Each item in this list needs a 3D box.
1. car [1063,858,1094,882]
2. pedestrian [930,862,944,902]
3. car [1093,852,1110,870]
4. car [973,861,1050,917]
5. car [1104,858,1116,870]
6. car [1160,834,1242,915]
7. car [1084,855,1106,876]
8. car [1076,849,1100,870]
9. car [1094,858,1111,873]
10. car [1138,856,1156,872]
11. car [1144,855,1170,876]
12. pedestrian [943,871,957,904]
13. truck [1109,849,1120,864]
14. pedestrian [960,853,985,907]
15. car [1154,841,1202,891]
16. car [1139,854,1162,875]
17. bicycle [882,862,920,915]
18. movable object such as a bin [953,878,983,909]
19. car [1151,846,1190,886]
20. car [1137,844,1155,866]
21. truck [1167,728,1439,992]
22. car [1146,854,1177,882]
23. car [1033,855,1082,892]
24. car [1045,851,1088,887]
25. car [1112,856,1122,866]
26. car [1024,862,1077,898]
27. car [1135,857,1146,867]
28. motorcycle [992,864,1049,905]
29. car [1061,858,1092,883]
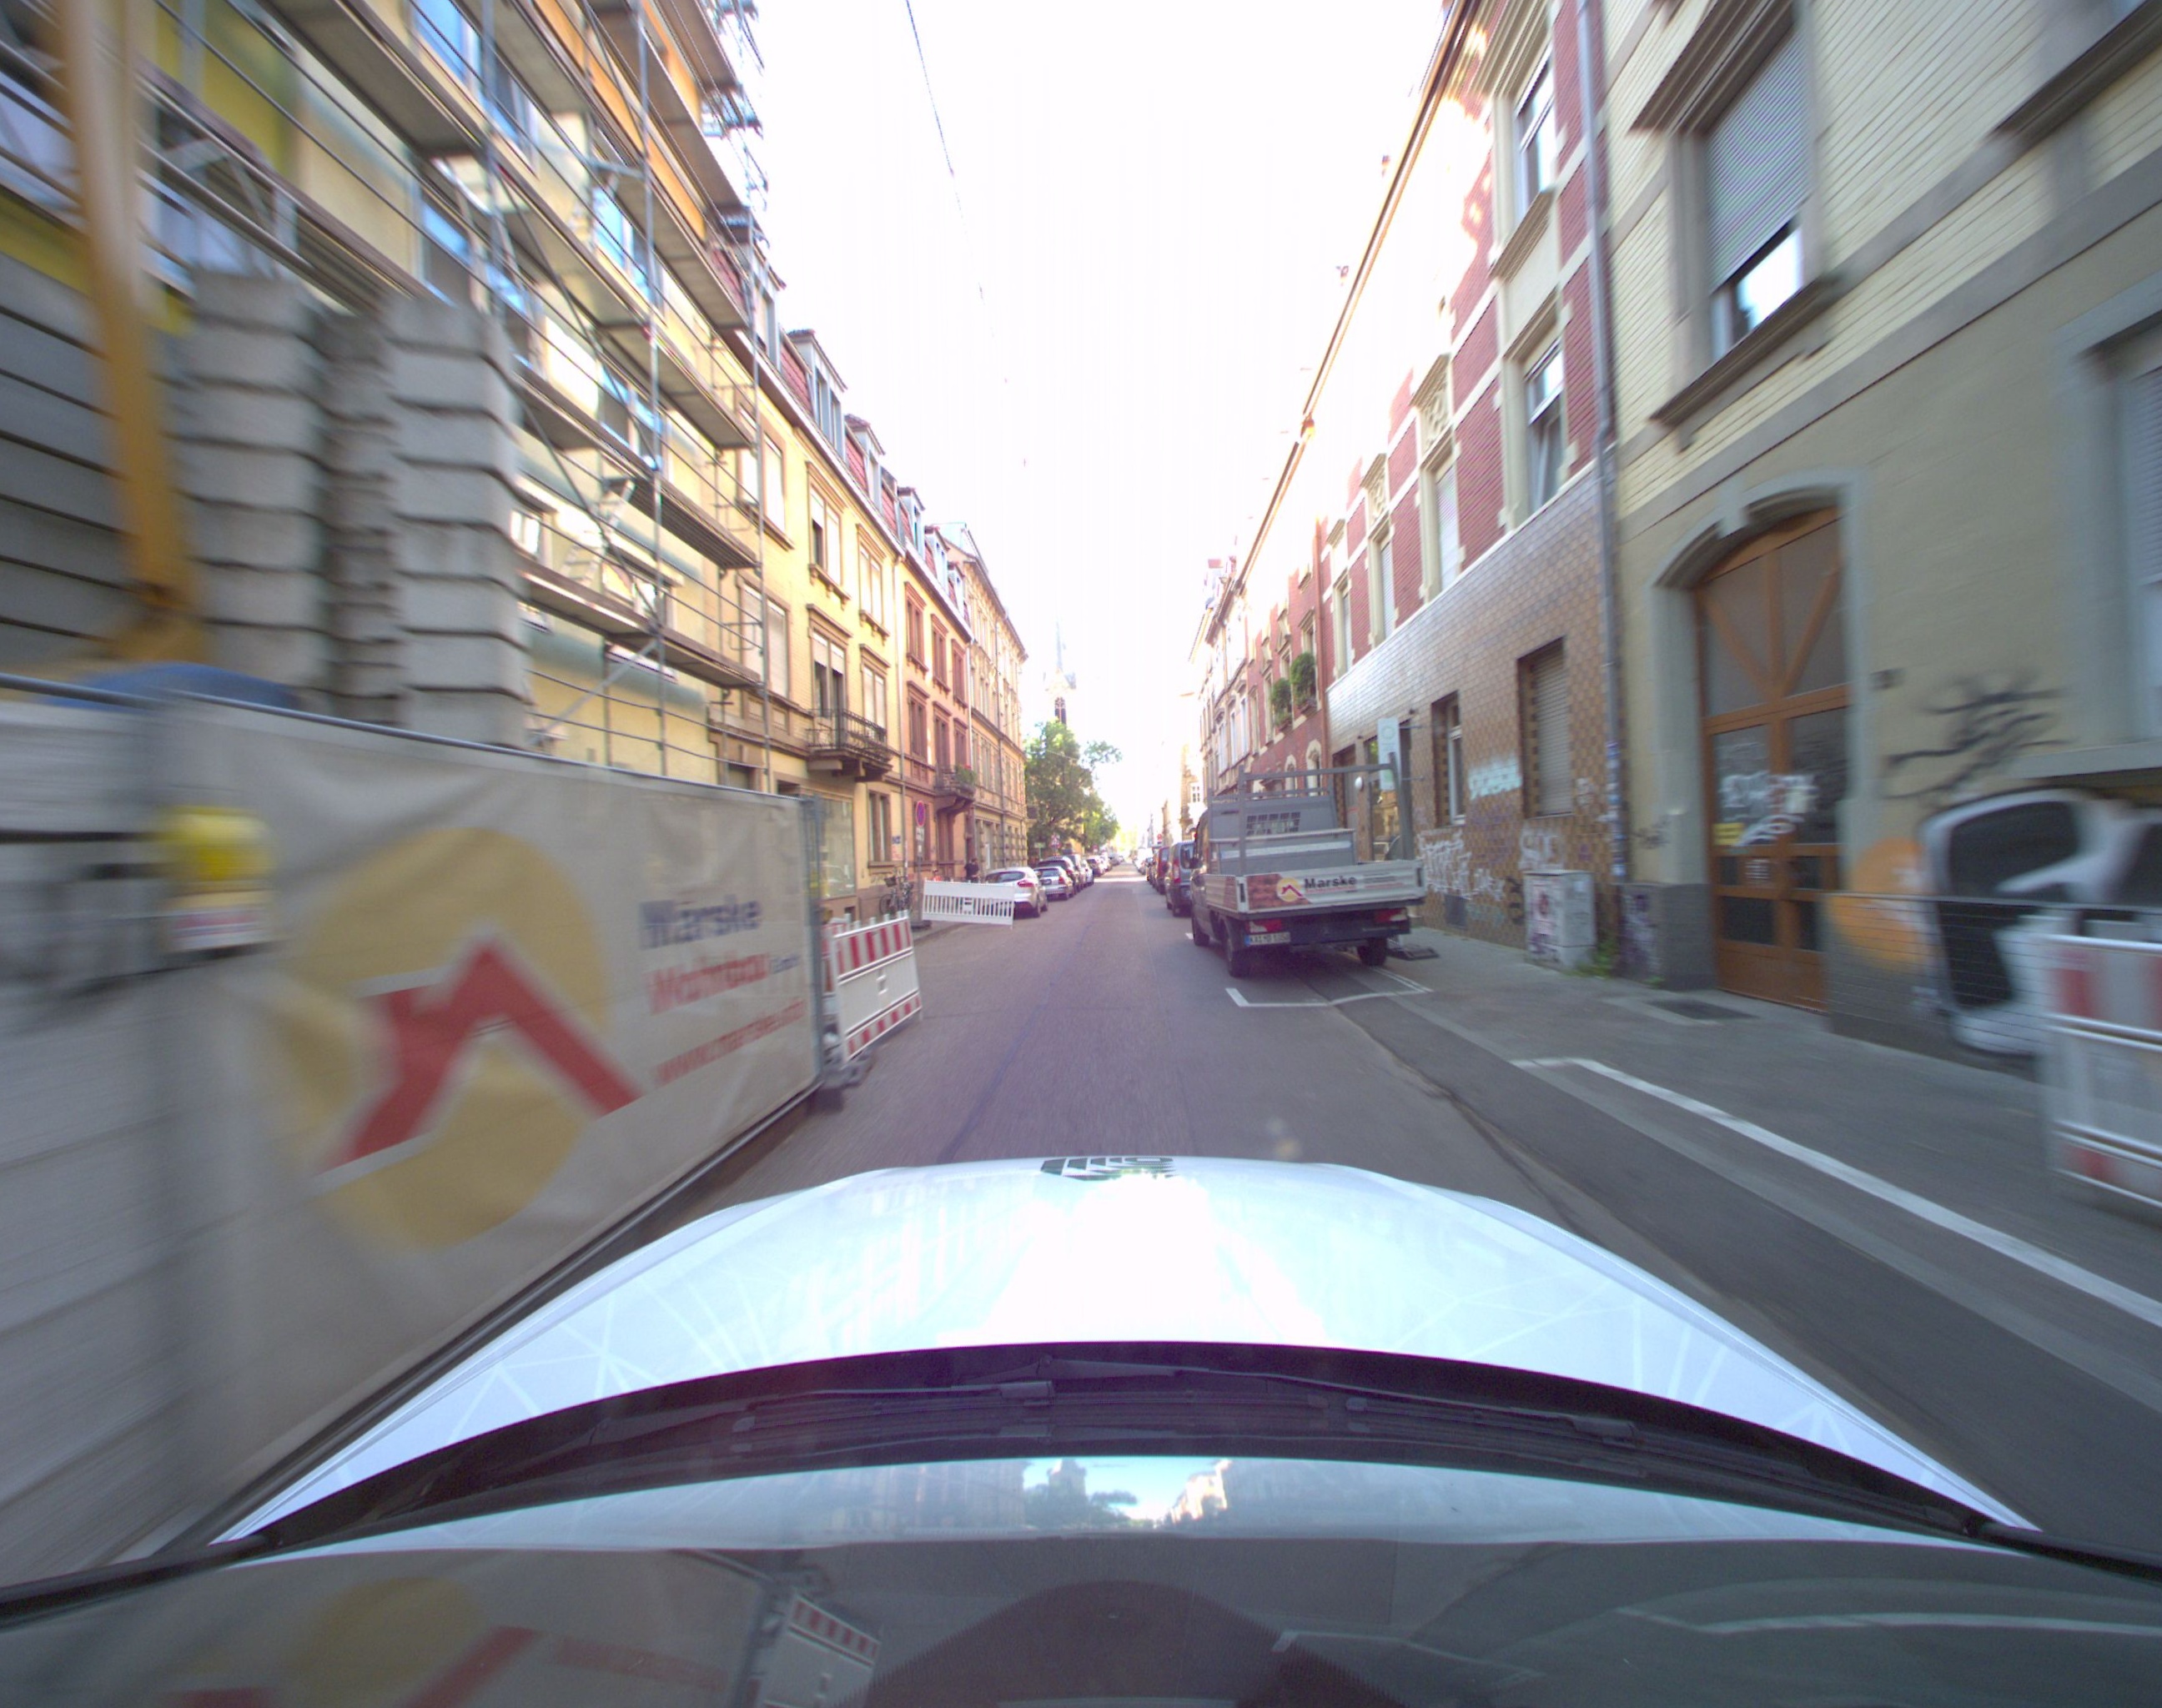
[{"bbox_3d":[-0.115,1.018,52.380,1.715,1.481,4.093,0,0,4],"label":"car"},{"bbox_3d":[-4.851,0.935,27.483,0.392,1.306,0.431,-1,-1,-2],"label":"pedestrian"},{"bbox_3d":[2.516,0.867,98.336,1.856,1.957,4.613,-4,-1,3],"label":"car"},{"bbox_3d":[-1.965,0.974,24.128,1.667,1.419,4.002,-3,-1,3],"label":"car"},{"bbox_3d":[4.262,1.446,119.382,1.593,1.614,3.811,-4,-1,3],"label":"car"},{"bbox_3d":[3.187,0.510,22.426,1.837,1.984,4.579,0,0,3],"label":"car"},{"bbox_3d":[1.167,0.921,68.772,1.734,1.646,4.290,-2,0,1],"label":"car"},{"bbox_3d":[0.693,0.518,76.480,1.837,1.862,4.470,-2,0,4],"label":"car"},{"bbox_3d":[2.402,1.287,91.946,1.735,1.586,3.872,-1,0,3],"label":"car"},{"bbox_3d":[7.040,1.097,87.035,1.800,1.690,4.218,0,-1,4],"label":"car"},{"bbox_3d":[5.322,0.801,57.483,1.699,1.459,4.515,0,0,4],"label":"car"},{"bbox_3d":[-4.406,1.134,27.374,0.392,1.086,0.431,-1,-1,-2],"label":"pedestrian"},{"bbox_3d":[8.144,0.600,196.715,2.521,3.282,7.001,-2,0,4],"label":"truck"},{"bbox_3d":[-3.677,0.878,27.669,0.683,1.765,0.887,-2,-1,0],"label":"pedestrian"},{"bbox_3d":[4.126,0.510,35.215,1.824,2.014,4.746,0,0,4],"label":"car"},{"bbox_3d":[6.155,0.940,72.240,1.697,1.714,3.939,-3,0,1],"label":"car"},{"bbox_3d":[-5.097,0.959,23.137,0.522,1.425,1.714,1,-1,4],"label":"bicycle"},{"bbox_3d":[-3.668,1.280,26.505,0.759,0.932,1.415,-2,0,0],"label":"movable object such as a bin"},{"bbox_3d":[4.513,0.590,41.521,1.762,1.961,4.268,0,0,4],"label":"car"},{"bbox_3d":[8.075,0.157,101.730,2.059,2.611,5.893,-1,0,4],"label":"car"},{"bbox_3d":[2.747,0.080,11.996,2.141,2.657,6.254,-6,0,1],"label":"truck"},{"bbox_3d":[4.692,0.781,47.725,1.659,1.479,3.891,-2,0,4],"label":"car"},{"bbox_3d":[-1.017,0.861,37.812,1.780,1.624,4.613,0,0,4],"label":"car"},{"bbox_3d":[-0.711,0.757,43.377,1.884,1.784,4.612,0,0,4],"label":"car"},{"bbox_3d":[7.013,1.362,158.249,1.867,1.796,4.004,-2,0,4],"label":"car"},{"bbox_3d":[-1.168,1.011,32.790,1.691,1.314,4.003,1,-1,3],"label":"car"},{"bbox_3d":[8.634,1.127,117.602,1.596,1.505,4.005,-1,0,5],"label":"car"},{"bbox_3d":[-2.181,1.097,28.938,0.849,1.360,2.171,-4,-1,-39],"label":"motorcycle"},{"bbox_3d":[-0.215,0.939,47.797,1.667,1.420,3.876,0,0,2],"label":"car"}]
